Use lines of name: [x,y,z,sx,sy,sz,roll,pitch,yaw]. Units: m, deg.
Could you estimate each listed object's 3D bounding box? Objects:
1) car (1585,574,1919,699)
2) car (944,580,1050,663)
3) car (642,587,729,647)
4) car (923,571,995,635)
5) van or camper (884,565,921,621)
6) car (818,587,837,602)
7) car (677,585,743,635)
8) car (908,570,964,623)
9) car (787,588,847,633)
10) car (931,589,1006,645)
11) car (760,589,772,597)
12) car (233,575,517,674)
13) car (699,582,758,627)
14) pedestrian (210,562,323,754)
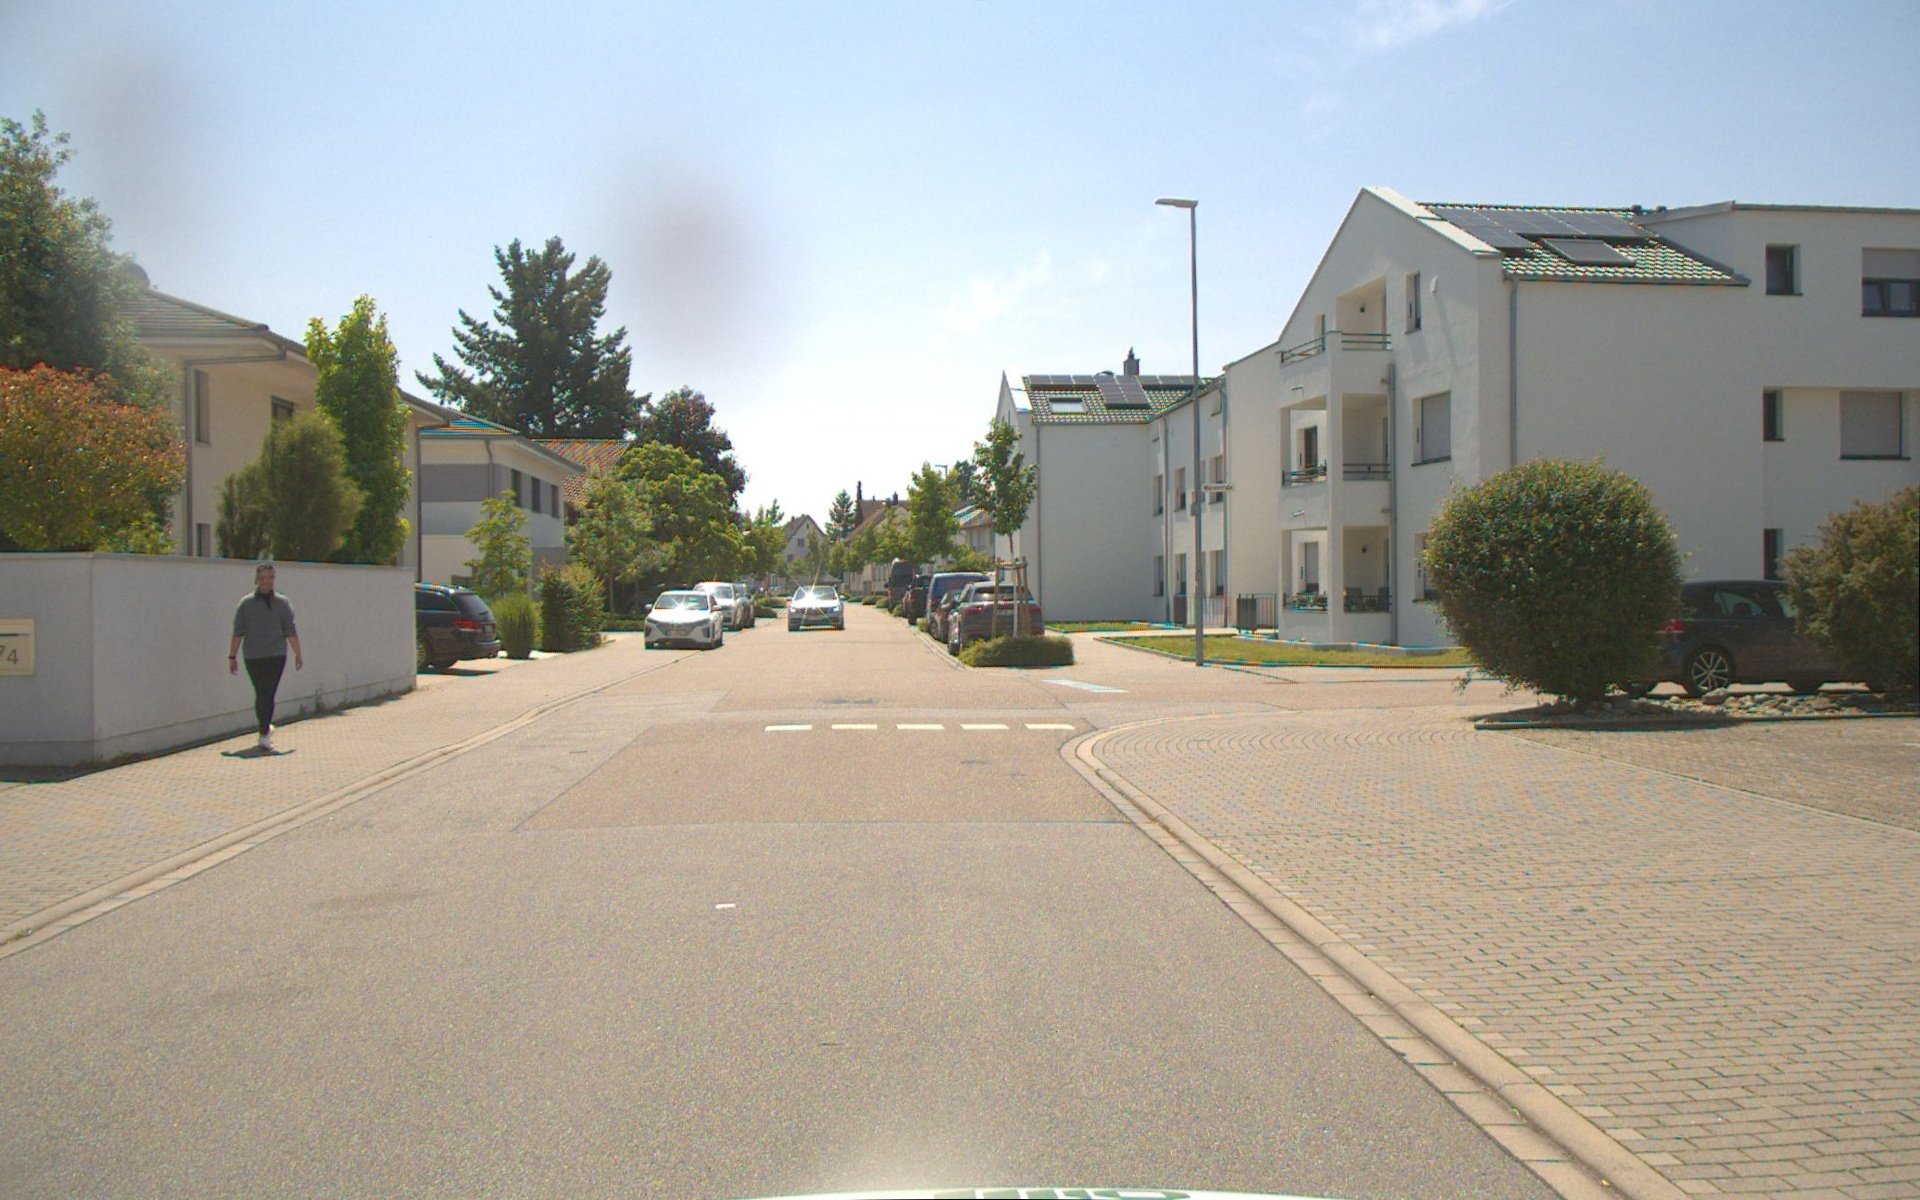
car: [10.348,0.434,21.332,3.913,1.493,1.755,-1,0,-4]
car: [0.734,0.423,35.847,1.739,1.623,4.274,-2,1,-6]
car: [-7.236,0.416,43.978,1.815,1.514,4.382,-1,0,-3]
car: [-0.090,0.085,52.537,2.057,1.915,4.840,-1,0,-3]
van or camper: [-3.206,-0.383,91.544,1.954,2.993,3.997,0,0,-4]
car: [-14.813,-0.595,185.266,1.954,1.601,3.997,-1,0,-4]
car: [-8.843,0.328,58.871,1.889,1.716,4.495,-1,0,-3]
car: [-1.014,-0.144,66.702,1.954,1.981,5.211,-2,0,-3]
car: [-4.949,0.333,57.633,1.815,1.504,4.698,-1,0,-2]
car: [0.193,0.425,45.932,1.647,1.467,4.022,-1,0,-6]
car: [-28.693,-1.037,244.829,1.630,1.272,3.929,-1,0,-4]
car: [-10.376,0.425,29.546,4.338,1.499,1.851,3,0,0]
car: [-9.086,0.163,65.265,1.954,1.709,4.211,-1,0,-3]
pedestrian: [-6.639,0.539,15.869,0.700,1.777,0.960,-1,0,-3]
